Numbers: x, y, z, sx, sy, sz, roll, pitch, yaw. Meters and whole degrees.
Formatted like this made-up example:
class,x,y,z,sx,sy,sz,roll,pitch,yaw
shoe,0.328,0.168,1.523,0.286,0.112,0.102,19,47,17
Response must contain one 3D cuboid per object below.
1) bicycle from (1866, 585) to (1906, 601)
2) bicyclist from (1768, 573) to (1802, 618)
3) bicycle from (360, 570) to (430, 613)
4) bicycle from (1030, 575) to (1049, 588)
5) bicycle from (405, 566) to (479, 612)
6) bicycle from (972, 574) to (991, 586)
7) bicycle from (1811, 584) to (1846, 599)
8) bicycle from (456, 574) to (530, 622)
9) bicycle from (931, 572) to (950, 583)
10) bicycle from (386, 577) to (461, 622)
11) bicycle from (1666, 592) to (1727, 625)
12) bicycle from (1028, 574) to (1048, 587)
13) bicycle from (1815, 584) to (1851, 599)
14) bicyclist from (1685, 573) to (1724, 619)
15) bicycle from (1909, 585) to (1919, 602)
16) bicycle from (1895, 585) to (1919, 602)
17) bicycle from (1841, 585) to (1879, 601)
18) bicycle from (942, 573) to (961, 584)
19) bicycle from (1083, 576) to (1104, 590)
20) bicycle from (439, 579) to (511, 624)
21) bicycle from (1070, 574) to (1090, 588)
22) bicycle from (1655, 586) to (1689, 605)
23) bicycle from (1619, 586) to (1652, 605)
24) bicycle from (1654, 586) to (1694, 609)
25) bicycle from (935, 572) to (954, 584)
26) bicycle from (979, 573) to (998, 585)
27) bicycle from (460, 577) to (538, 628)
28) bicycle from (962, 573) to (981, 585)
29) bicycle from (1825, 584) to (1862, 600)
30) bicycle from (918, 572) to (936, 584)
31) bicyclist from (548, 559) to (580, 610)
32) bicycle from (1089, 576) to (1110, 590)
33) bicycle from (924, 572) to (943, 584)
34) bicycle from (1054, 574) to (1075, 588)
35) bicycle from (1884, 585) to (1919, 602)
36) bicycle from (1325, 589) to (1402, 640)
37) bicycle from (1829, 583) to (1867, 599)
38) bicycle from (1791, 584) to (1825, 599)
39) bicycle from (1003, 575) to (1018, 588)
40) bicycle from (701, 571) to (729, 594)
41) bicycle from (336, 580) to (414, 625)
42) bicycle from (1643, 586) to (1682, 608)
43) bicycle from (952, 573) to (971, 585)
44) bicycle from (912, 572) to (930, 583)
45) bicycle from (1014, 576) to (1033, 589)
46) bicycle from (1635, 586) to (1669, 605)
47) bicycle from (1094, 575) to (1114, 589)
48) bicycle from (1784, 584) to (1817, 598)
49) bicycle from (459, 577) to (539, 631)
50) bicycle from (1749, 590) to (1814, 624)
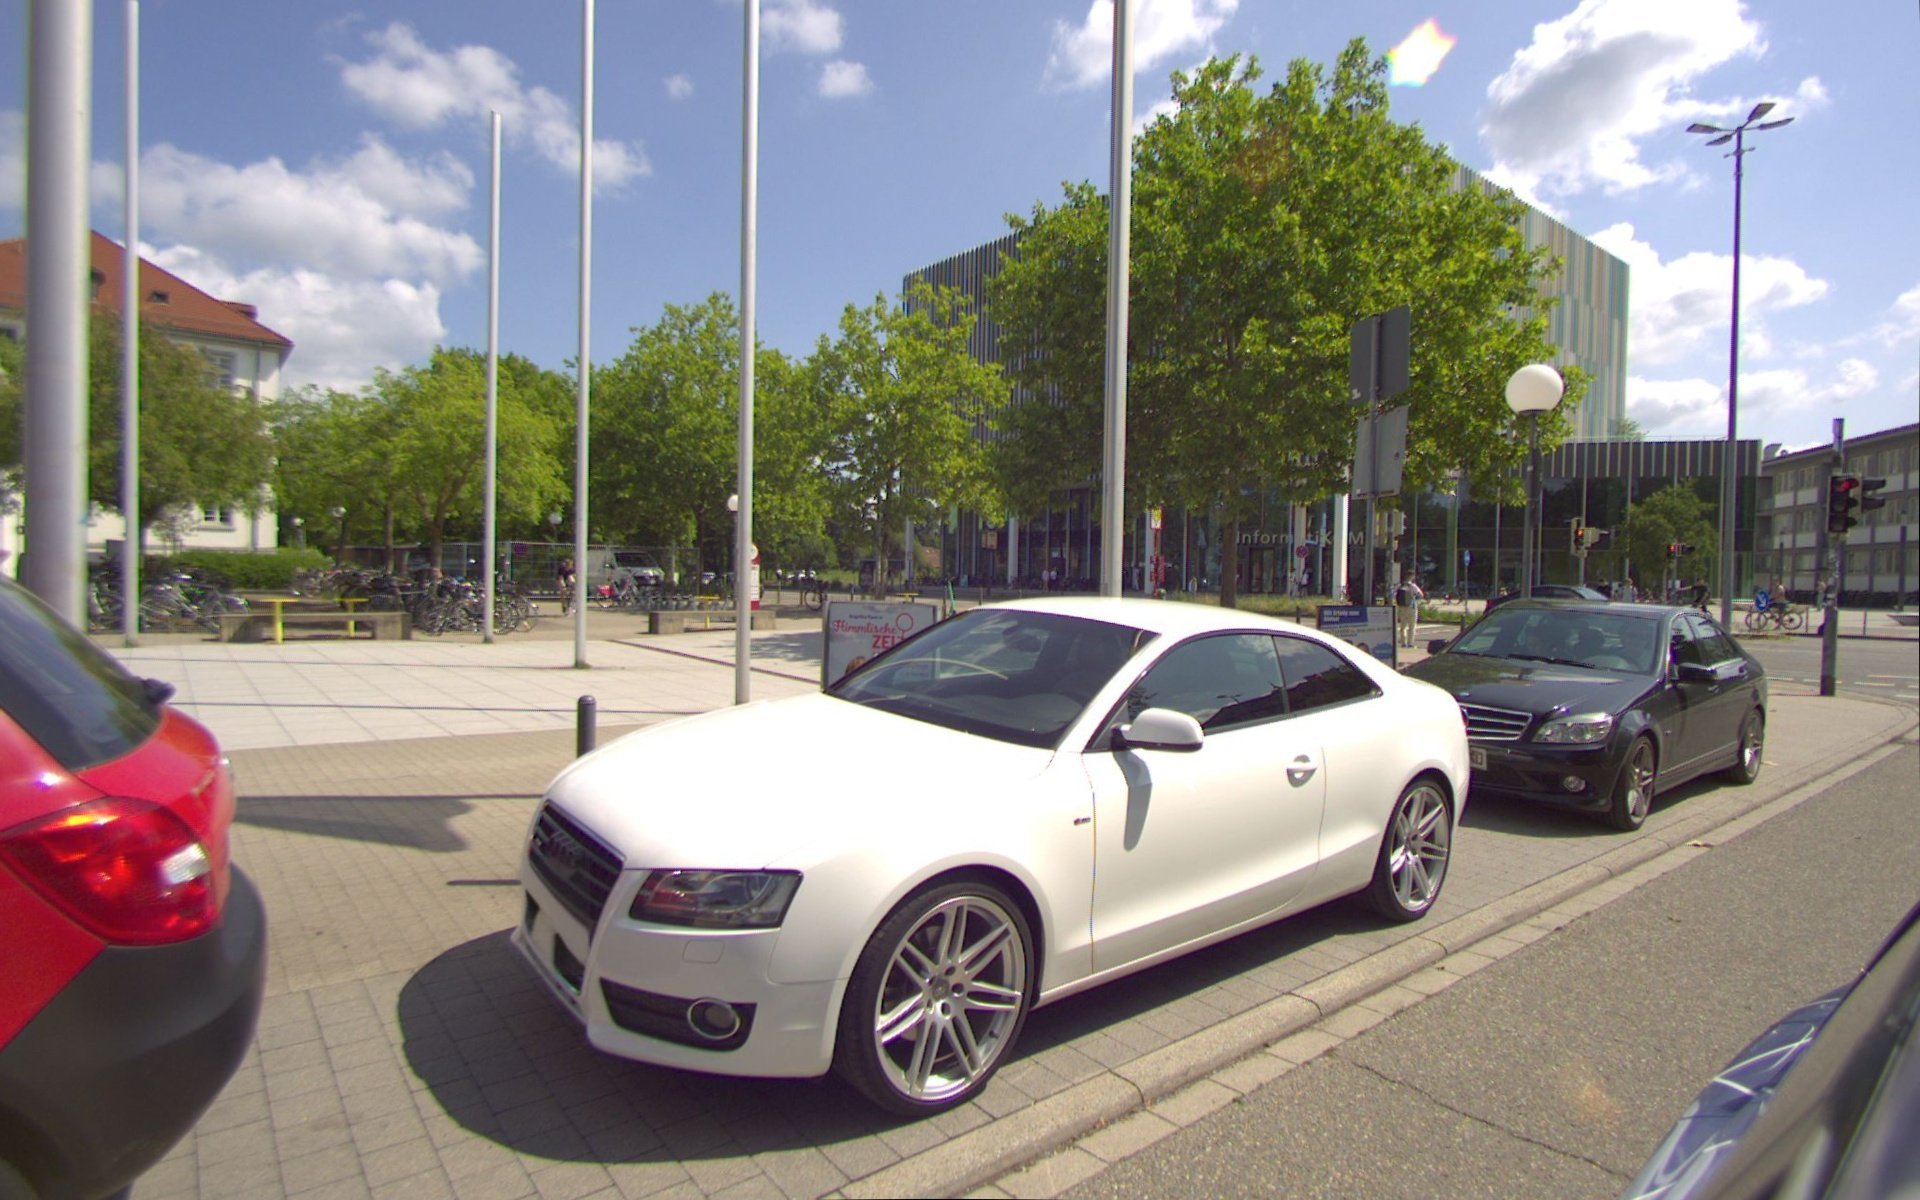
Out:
class,x,y,z,sx,sy,sz,roll,pitch,yaw
bicycle,58.456,-0.437,63.926,1.754,0.967,0.525,2,3,24
bicyclist,29.221,-0.181,35.873,0.778,1.557,0.651,1,1,27
bicycle,-15.899,-0.262,28.525,0.596,1.112,1.757,0,3,20
bicycle,6.168,-1.421,78.544,1.514,0.967,0.374,-2,2,-24
bicycle,-13.082,-0.286,25.610,0.596,1.112,1.756,1,1,20
bicycle,1.806,-1.699,84.574,1.754,0.967,0.433,-3,3,-39
bicycle,60.524,-0.589,70.538,1.754,0.967,0.525,2,3,24
bicycle,-11.649,-0.064,25.297,0.596,1.112,1.757,0,3,20
bicycle,-1.717,-1.972,88.682,1.754,0.967,0.433,-3,3,-39
bicycle,-13.741,-0.037,25.951,0.596,1.112,1.756,0,1,20
bicycle,26.717,0.307,36.736,1.653,1.138,0.690,1,1,24
bicycle,6.068,-1.496,78.941,1.514,0.967,0.374,-2,2,-24
bicycle,60.291,-0.594,69.927,1.754,0.967,0.525,2,3,24
bicyclist,26.944,-0.162,36.625,0.988,1.635,0.652,1,1,23
bicycle,57.852,-0.351,60.319,1.754,0.967,0.525,2,3,24
bicycle,58.204,-0.378,61.592,1.754,0.967,0.525,2,3,24
bicycle,59.069,-0.477,66.429,1.754,0.967,0.525,2,3,24
bicycle,-0.716,-1.854,87.348,1.754,0.967,0.433,-3,3,-39
bicycle,9.798,-1.268,74.298,1.514,0.967,0.374,-2,2,-24
bicycle,-12.336,0.016,25.791,0.596,1.112,1.756,0,1,20
bicycle,8.926,-1.425,75.116,1.514,0.967,0.374,-2,2,-24
bicycle,37.678,-0.246,53.590,0.519,0.967,1.774,0,2,-1
bicycle,36.217,-0.269,54.290,0.519,0.967,1.774,0,2,-1
bicycle,32.711,-0.123,46.395,0.519,0.967,1.774,0,2,-1
bicycle,-1.335,-1.908,88.224,1.754,0.967,0.433,-3,3,-39
bicycle,2.372,-1.746,83.573,1.754,0.967,0.433,-3,3,-39
bicycle,-10.902,0.040,23.999,0.596,1.112,1.757,0,3,20
bicycle,0.945,-1.783,85.512,1.754,0.967,0.433,-3,3,-39
bicycle,59.773,-0.538,68.495,1.754,0.967,0.525,2,3,24
bicycle,-2.933,-1.950,90.111,1.754,0.967,0.433,-3,3,-39
bicyclist,-10.605,-0.415,27.116,0.596,1.337,0.742,2,1,-36
bicycle,10.147,-1.240,73.710,1.514,0.967,0.374,-2,2,-24
bicycle,-2.319,-1.946,89.396,1.754,0.967,0.433,-3,3,-39
bicycle,7.835,-1.417,75.856,1.514,0.967,0.374,-2,2,-24
bicycle,58.473,-0.397,62.656,1.754,0.967,0.525,2,3,24
bicycle,9.718,0.357,24.376,1.855,1.086,0.818,4,0,-37
bicycle,59.382,-0.612,67.694,1.754,0.967,0.525,2,3,24
bicycle,61.189,-0.627,73.020,1.753,0.967,0.525,2,3,23
bicycle,3.977,-1.488,79.897,0.372,0.967,1.525,1,3,40
bicycle,-13.417,-0.972,55.394,0.628,1.206,2.117,2,0,-39
bicycle,-14.915,0.034,25.862,0.596,1.112,1.756,0,1,20
bicycle,32.186,-0.144,46.395,0.519,0.967,1.774,0,2,-1
bicycle,0.162,-1.820,86.271,1.754,0.967,0.433,-3,3,-39
bicycle,-3.516,-2.043,90.915,1.754,0.967,0.433,-3,3,-39
bicycle,5.009,-1.402,79.764,1.514,0.967,0.374,-2,2,-24
bicycle,36.829,-0.253,53.902,0.519,0.967,1.774,0,2,-1
bicycle,10.420,-1.289,73.190,1.514,0.967,0.374,-2,2,-24
bicycle,61.574,-0.644,74.131,1.754,0.967,0.525,2,3,24
bicycle,-10.507,0.067,23.129,0.596,1.112,1.757,0,3,20
bicycle,29.136,0.233,35.926,1.655,1.138,0.689,1,1,27
